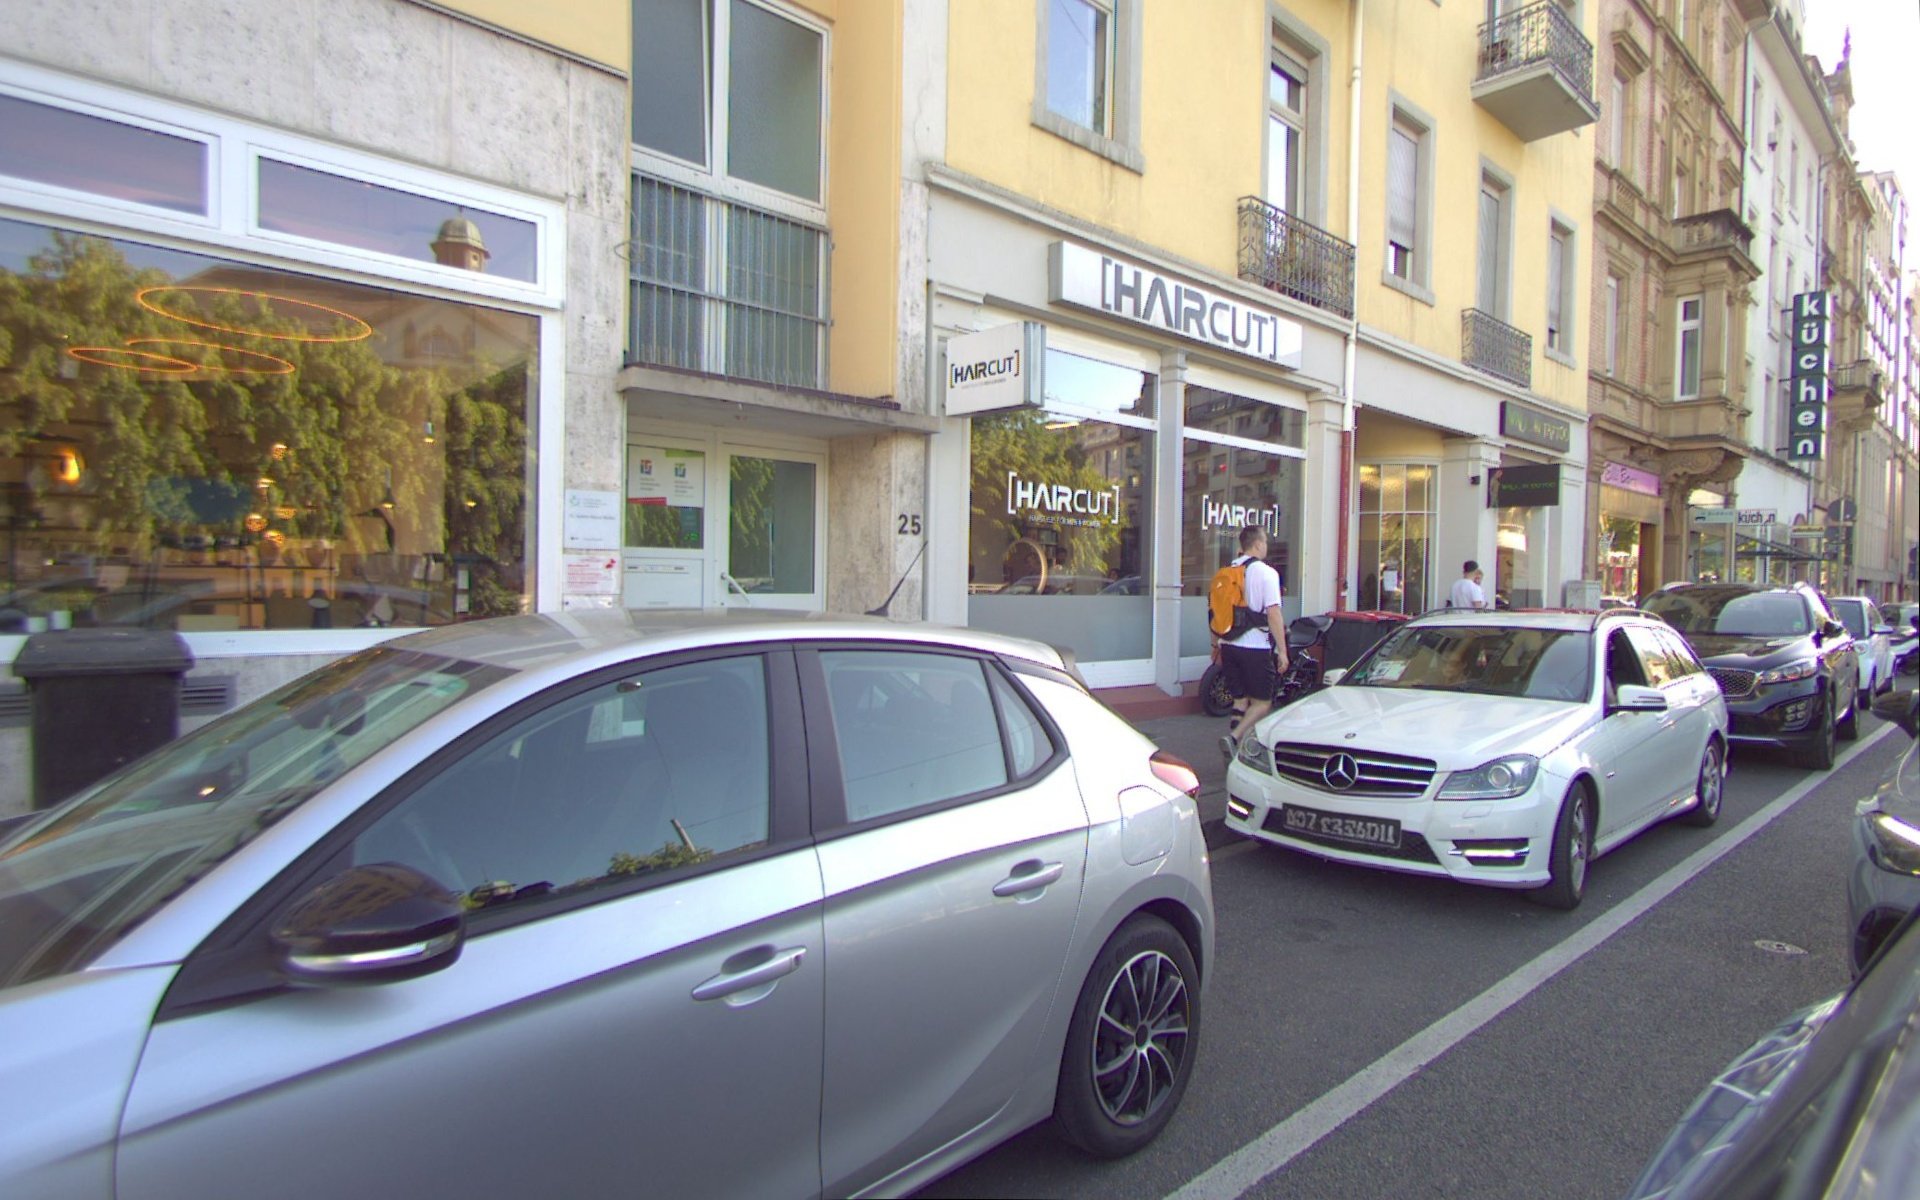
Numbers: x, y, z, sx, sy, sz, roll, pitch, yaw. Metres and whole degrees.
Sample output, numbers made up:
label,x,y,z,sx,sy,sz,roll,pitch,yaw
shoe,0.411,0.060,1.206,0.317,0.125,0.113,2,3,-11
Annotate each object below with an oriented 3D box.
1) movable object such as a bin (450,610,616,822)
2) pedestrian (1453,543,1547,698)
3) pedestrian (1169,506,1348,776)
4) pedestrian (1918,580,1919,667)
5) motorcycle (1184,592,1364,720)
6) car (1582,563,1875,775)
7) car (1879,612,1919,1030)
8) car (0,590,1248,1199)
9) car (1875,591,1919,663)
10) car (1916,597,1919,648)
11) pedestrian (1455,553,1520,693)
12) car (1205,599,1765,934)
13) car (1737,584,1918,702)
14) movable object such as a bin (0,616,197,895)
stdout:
label,x,y,z,sx,sy,sz,roll,pitch,yaw
movable object such as a bin,-2.338,0.580,5.529,0.639,1.036,0.737,0,0,-41
pedestrian,6.816,0.254,12.807,0.961,1.900,0.532,0,0,18
pedestrian,2.214,0.254,7.522,0.964,1.845,0.811,0,3,-37
pedestrian,19.798,0.475,20.112,0.802,1.741,0.839,0,0,-22
motorcycle,3.290,0.522,10.496,2.073,1.144,0.735,-1,5,-41
car,7.998,0.530,10.359,4.338,1.711,1.802,-1,0,-45
car,5.386,0.749,4.369,4.397,1.385,1.767,-1,1,-43
car,-1.017,0.715,2.300,3.625,1.455,1.585,-1,0,-43
car,21.886,0.565,22.802,3.736,1.509,1.691,-1,0,-45
car,26.597,0.573,26.921,3.306,1.334,1.459,-1,0,-42
pedestrian,7.228,0.300,13.867,0.627,1.859,0.760,0,0,41
car,3.521,0.708,6.380,4.301,1.389,1.671,-1,0,-41
car,12.759,0.547,14.846,2.945,1.542,1.582,-1,0,-41
movable object such as a bin,-3.685,0.599,4.315,0.639,1.036,0.737,0,0,-41
